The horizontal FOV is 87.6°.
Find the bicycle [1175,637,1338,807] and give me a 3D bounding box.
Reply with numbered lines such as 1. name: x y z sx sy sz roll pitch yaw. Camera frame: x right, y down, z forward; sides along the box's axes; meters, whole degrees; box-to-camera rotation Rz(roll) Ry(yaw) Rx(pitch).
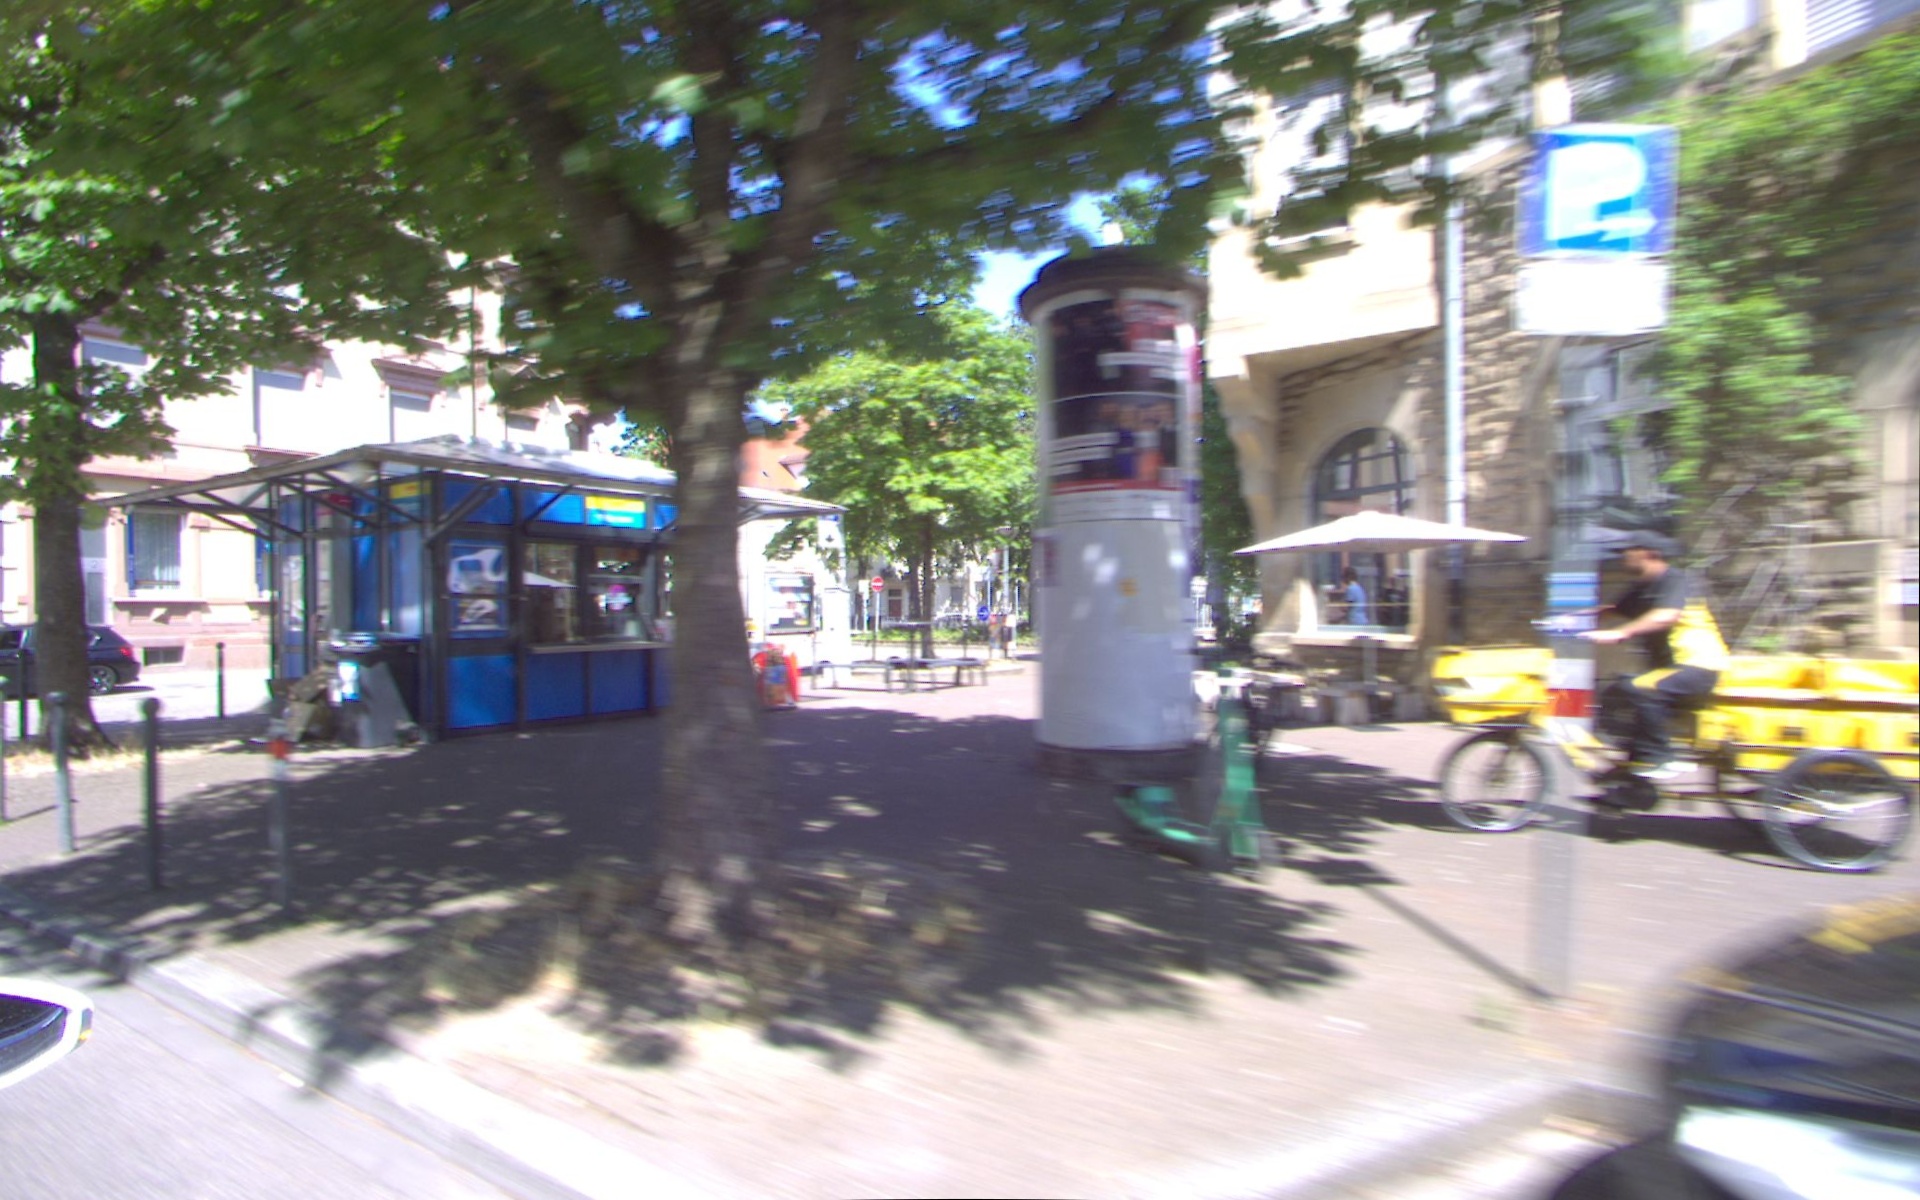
1. bicycle: 2.298 0.842 7.588 0.625 1.053 1.895 -1 0 34

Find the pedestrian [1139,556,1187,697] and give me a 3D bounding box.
1. pedestrian: 2.831 0.369 14.001 0.590 1.904 0.883 -1 0 9

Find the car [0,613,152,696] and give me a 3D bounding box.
1. car: -17.738 0.993 18.319 1.781 1.389 4.283 2 2 33

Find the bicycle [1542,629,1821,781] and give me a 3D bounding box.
1. bicycle: 5.778 0.782 8.162 0.540 1.053 1.831 -1 0 -23

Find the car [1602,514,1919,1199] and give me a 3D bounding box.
1. car: 2.997 0.691 0.840 4.119 1.560 1.660 -1 -2 33

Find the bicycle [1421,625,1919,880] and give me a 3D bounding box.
1. bicycle: 3.916 0.749 5.413 2.534 1.184 0.794 -1 0 22

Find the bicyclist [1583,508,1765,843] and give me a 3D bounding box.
1. bicyclist: 3.828 0.383 5.421 0.650 1.670 0.678 -1 1 23

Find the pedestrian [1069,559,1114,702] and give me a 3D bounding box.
1. pedestrian: 1.796 0.414 13.666 0.510 1.893 0.653 -1 0 14

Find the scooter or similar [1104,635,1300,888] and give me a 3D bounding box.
1. scooter or similar: 1.239 0.778 5.321 0.436 1.151 1.182 -1 0 -19
